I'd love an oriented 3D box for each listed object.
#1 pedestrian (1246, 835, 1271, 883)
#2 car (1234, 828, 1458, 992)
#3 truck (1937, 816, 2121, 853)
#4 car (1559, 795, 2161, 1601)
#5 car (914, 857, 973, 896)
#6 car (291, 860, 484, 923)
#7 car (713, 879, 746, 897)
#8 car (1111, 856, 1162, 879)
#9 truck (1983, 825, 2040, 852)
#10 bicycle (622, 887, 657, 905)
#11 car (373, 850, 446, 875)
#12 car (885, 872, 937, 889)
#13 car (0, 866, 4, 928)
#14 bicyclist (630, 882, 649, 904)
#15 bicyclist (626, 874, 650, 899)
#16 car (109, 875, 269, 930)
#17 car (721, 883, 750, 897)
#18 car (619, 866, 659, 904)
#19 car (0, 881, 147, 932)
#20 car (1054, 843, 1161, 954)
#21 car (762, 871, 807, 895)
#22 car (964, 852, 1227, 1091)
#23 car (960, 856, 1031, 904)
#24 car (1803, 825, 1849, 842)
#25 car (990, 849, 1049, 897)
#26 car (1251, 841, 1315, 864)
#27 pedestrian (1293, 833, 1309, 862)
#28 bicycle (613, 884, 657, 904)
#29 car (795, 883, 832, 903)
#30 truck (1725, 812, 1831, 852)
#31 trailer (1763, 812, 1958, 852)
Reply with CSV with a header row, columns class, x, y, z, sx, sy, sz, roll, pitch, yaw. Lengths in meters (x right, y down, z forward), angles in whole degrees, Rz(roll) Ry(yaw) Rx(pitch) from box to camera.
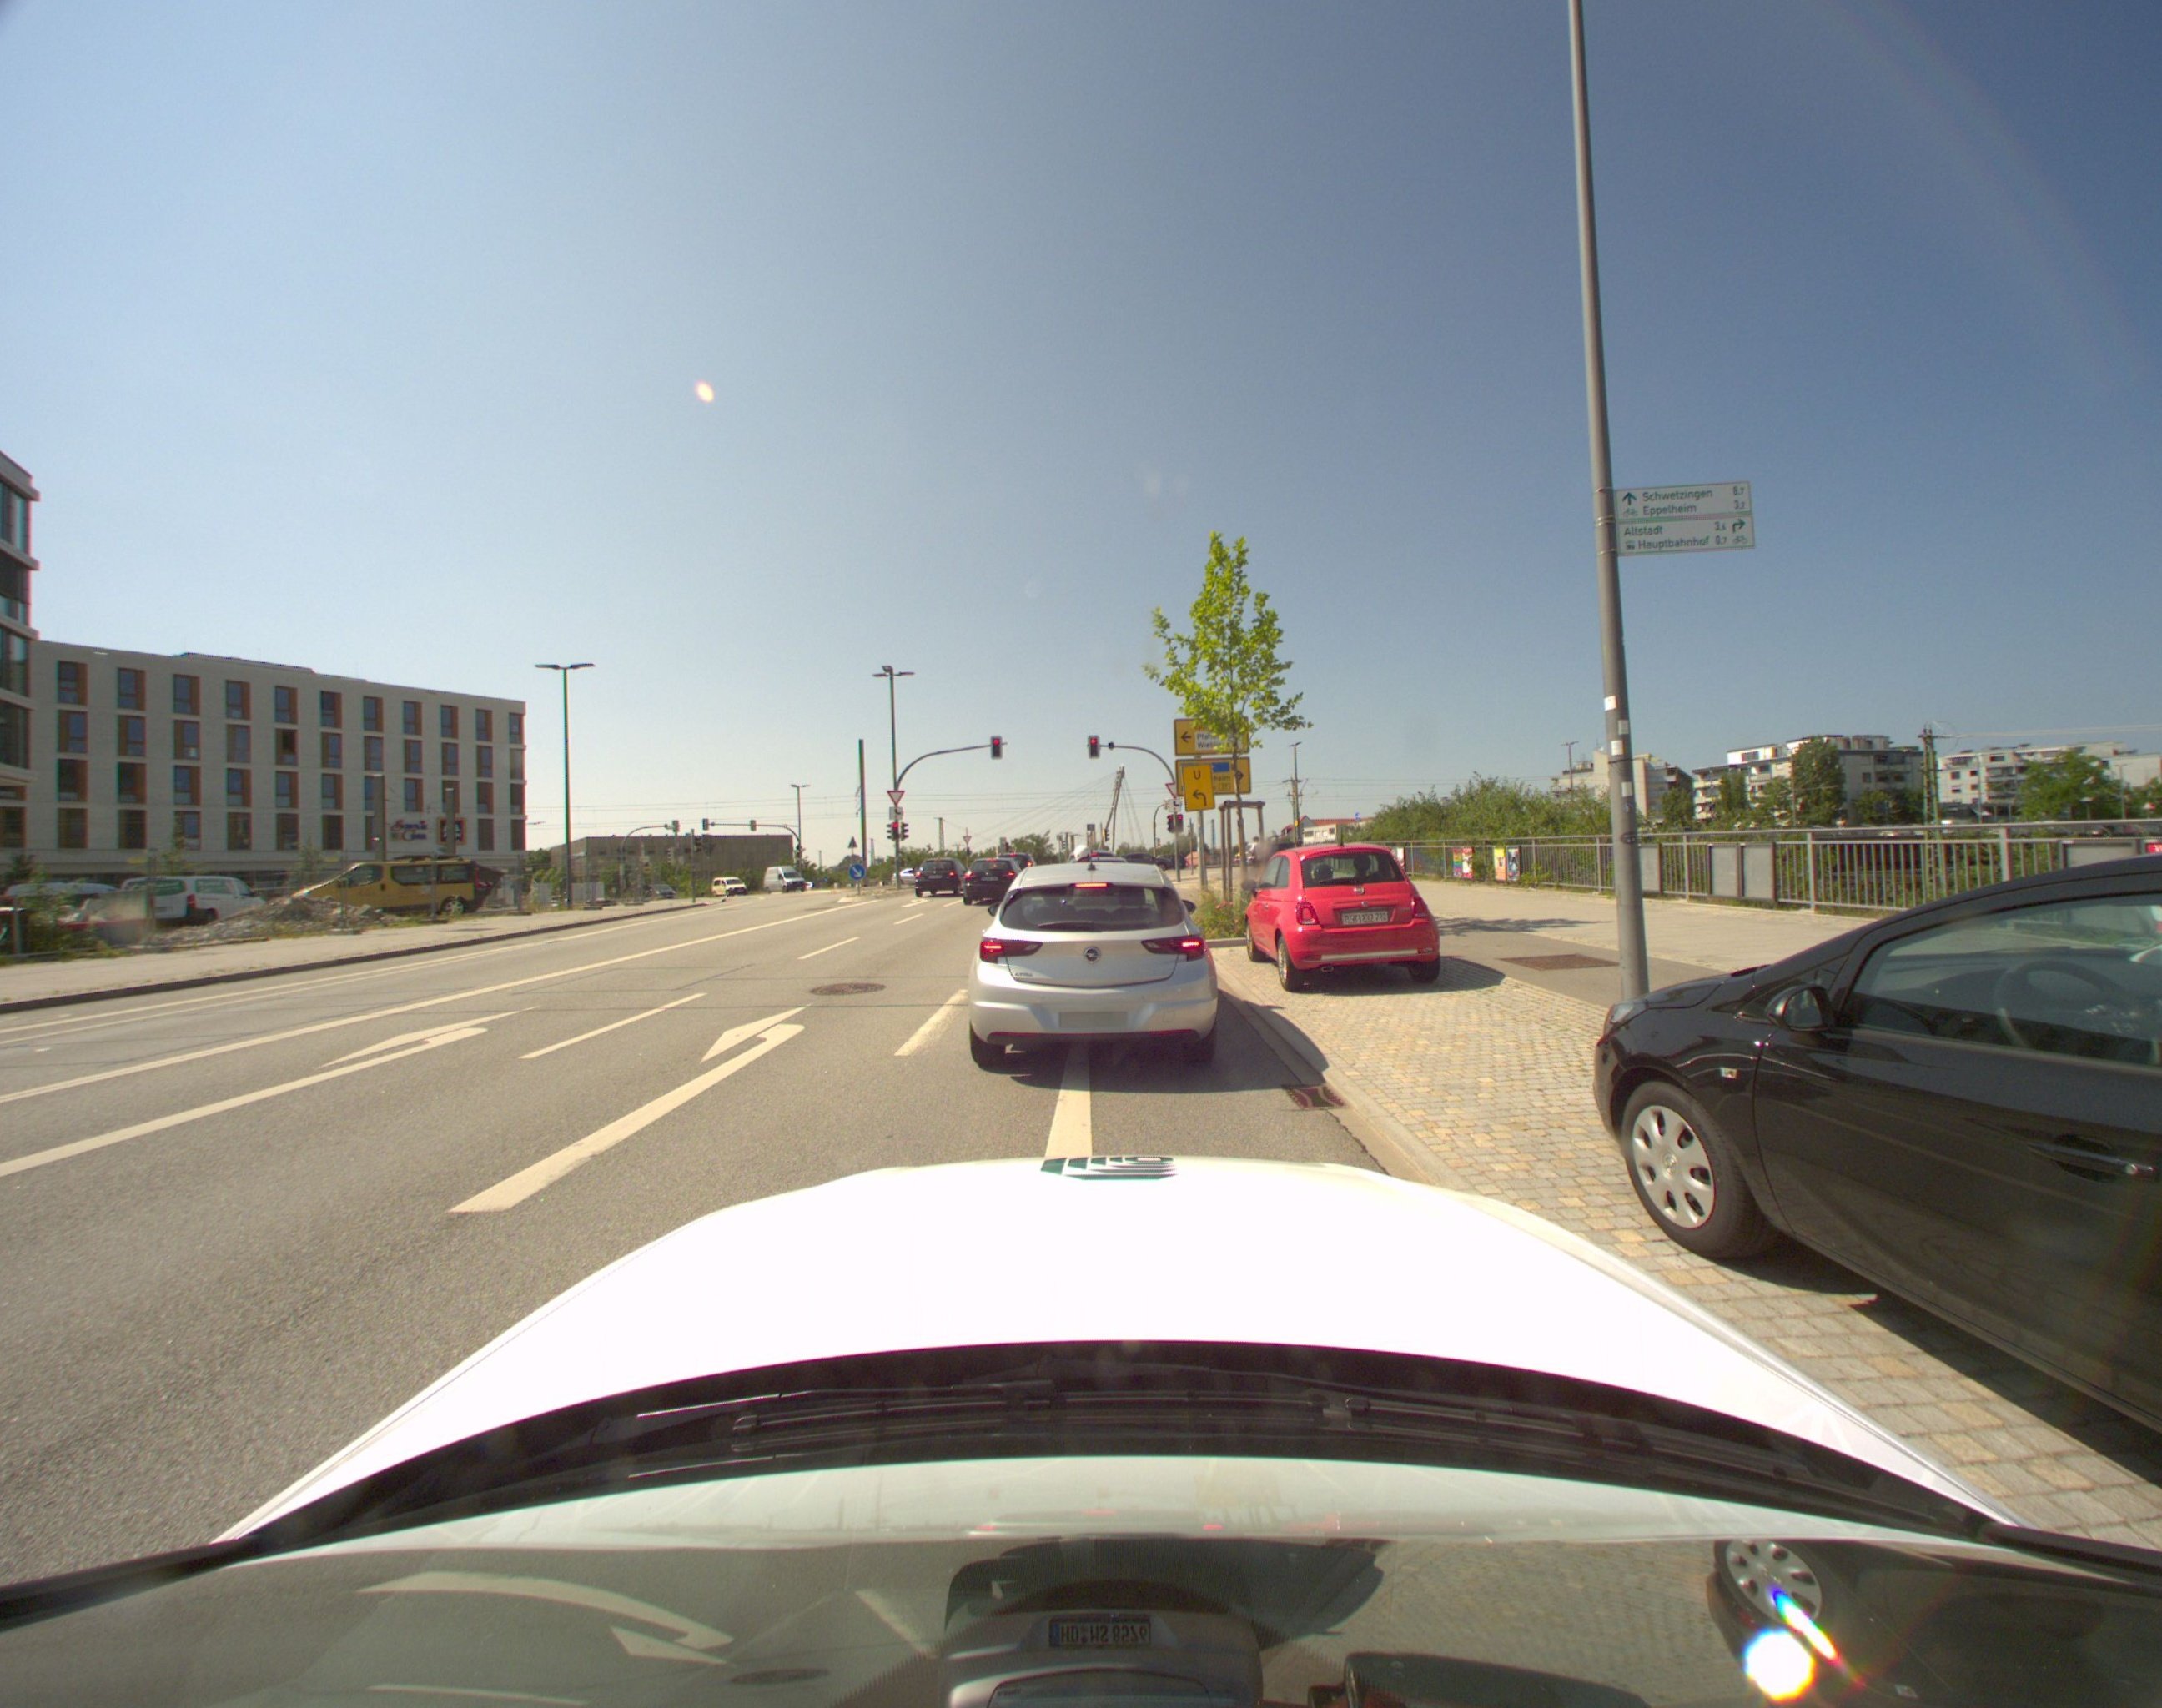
class,x,y,z,sx,sy,sz,roll,pitch,yaw
pedestrian,6.797,0.203,31.236,0.755,1.830,0.885,0,-1,1
car,2.996,0.582,10.064,1.662,1.540,3.921,-3,-1,4
truck,89.341,-1.770,76.720,17.857,3.204,3.723,0,-1,-14
car,2.864,0.640,1.729,1.576,1.555,3.548,-4,0,1
car,-5.200,0.848,31.215,1.581,1.395,3.340,-1,-1,1
car,-22.540,1.150,26.626,1.974,1.890,4.514,-1,-1,40
car,-31.865,3.048,73.826,1.648,1.524,3.455,1,-1,-43
car,4.340,1.059,63.573,3.835,1.684,1.663,-1,-1,-2
truck,103.624,-1.664,90.706,5.871,2.884,2.105,0,-1,-19
bicycle,-32.319,3.093,59.599,2.502,1.134,0.732,-5,-3,21
car,-54.182,0.708,65.801,3.990,2.014,1.991,0,-1,-12
car,-13.654,2.114,65.528,3.672,1.333,1.780,0,-1,18
car,-36.205,1.401,25.010,2.220,2.056,4.133,0,-1,-28
bicyclist,-32.256,2.849,59.534,0.815,1.560,0.867,2,0,20
bicyclist,-27.562,2.023,50.678,0.940,1.569,0.824,0,-1,6
car,-31.028,1.625,28.558,2.003,1.707,4.526,0,-1,-23
car,-43.813,4.581,103.203,4.156,1.645,1.844,-1,-1,41
car,-24.304,1.659,44.862,1.678,2.014,3.966,0,-1,-25
car,-33.686,1.683,27.245,1.809,1.508,3.965,0,-1,-27
car,0.445,0.705,14.251,1.629,1.674,3.745,0,-1,1
car,-26.881,2.595,73.772,4.778,2.119,1.808,-1,-1,42
car,0.141,0.774,7.421,1.685,1.520,4.271,-1,0,1
car,-2.624,0.788,25.916,1.699,1.412,4.001,0,-1,2
car,75.631,-2.106,82.689,3.513,1.641,1.791,0,-1,-15
car,-2.346,0.732,31.903,1.797,1.622,3.917,-4,-1,1
car,16.096,-0.107,64.902,4.549,1.783,1.992,0,-1,-11
pedestrian,14.285,-0.395,52.789,0.744,1.863,0.747,-1,-2,39
bicycle,-27.726,2.480,50.627,2.348,1.127,0.678,-1,-1,2
car,-29.727,4.315,90.427,3.948,2.014,2.013,-1,-1,36
truck,58.868,-1.796,68.837,6.478,3.204,3.721,0,-1,-14
trailer,68.126,-1.795,71.102,17.225,3.204,3.723,0,-1,-14
